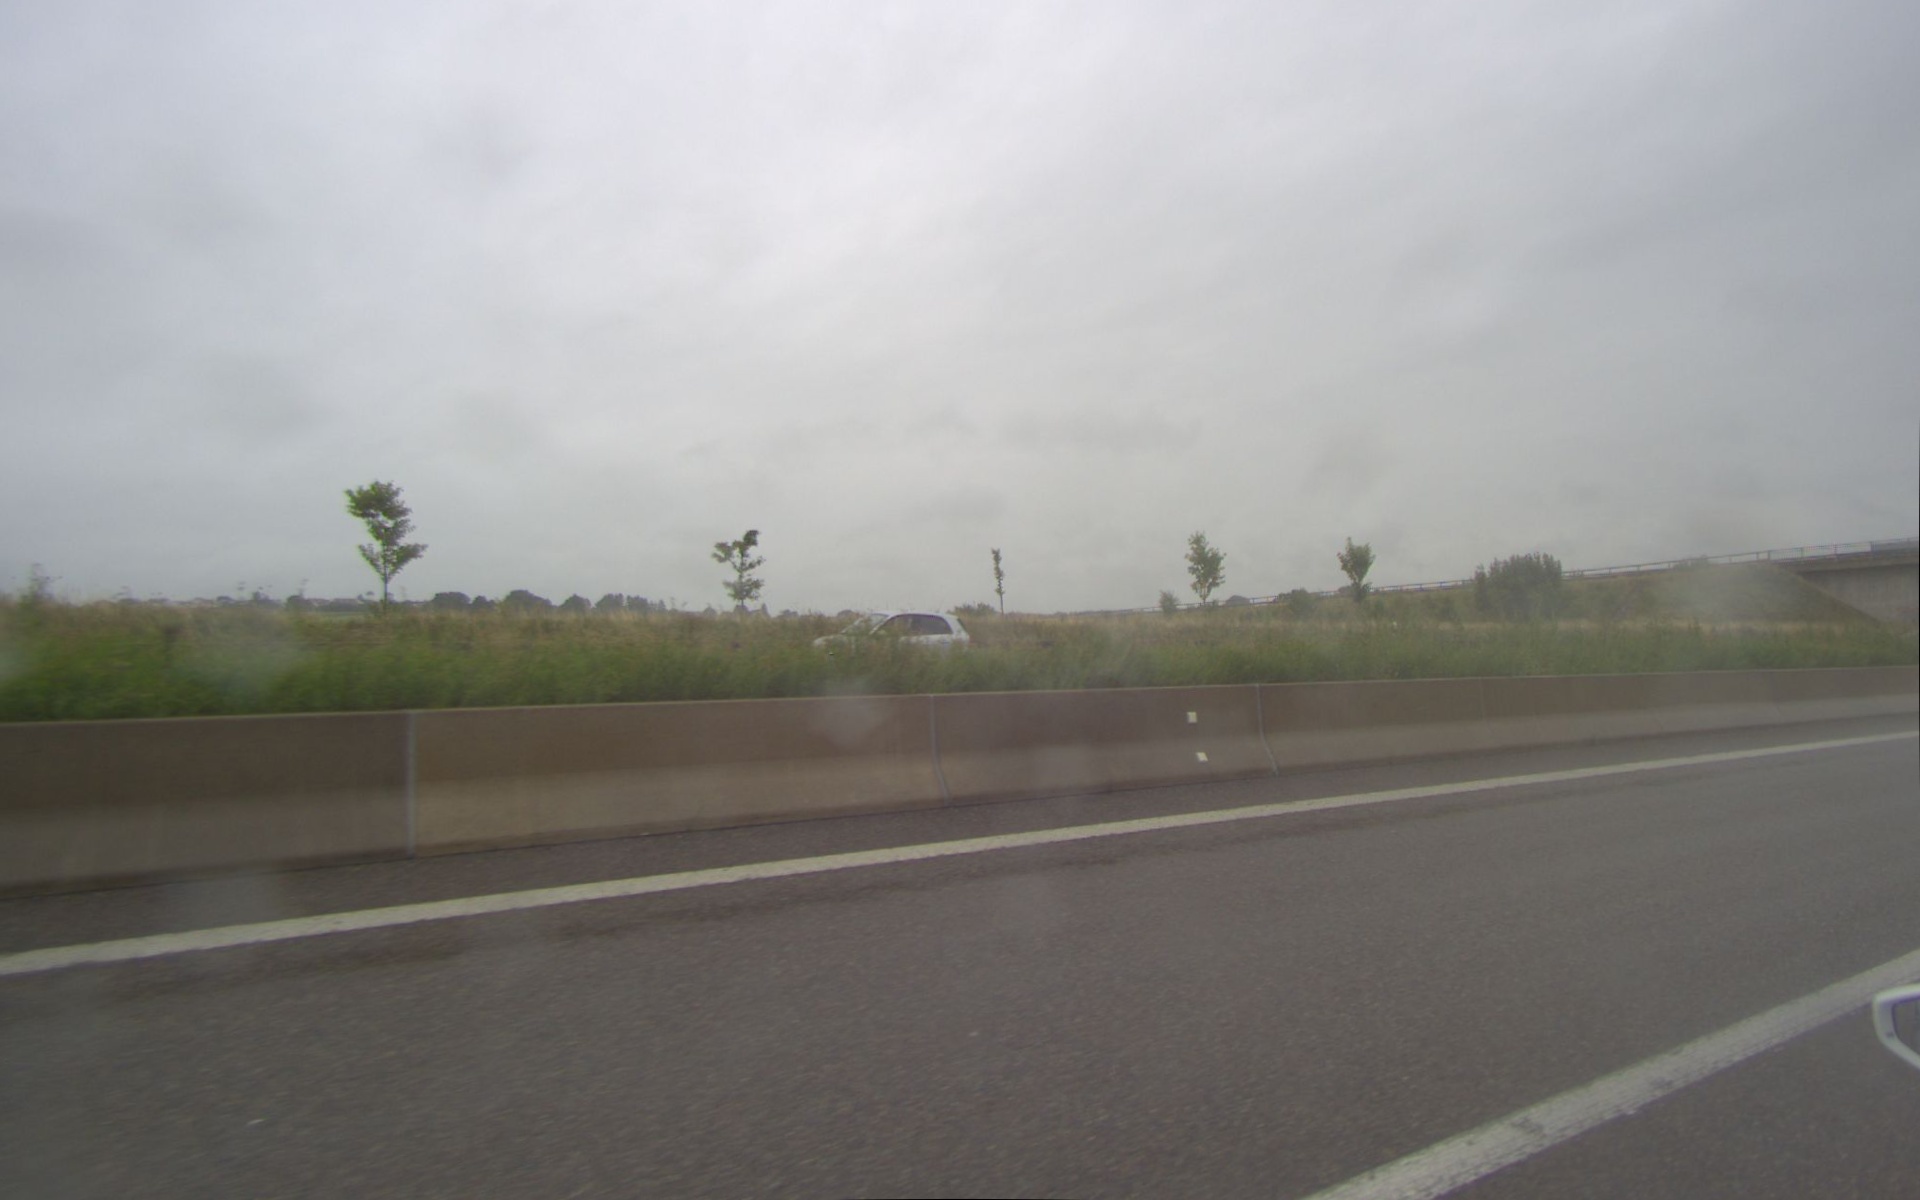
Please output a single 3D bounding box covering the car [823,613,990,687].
[{"bbox_3d":[-1.087,1.041,20.796,3.167,1.400,1.353,2,-1,-30],"label":"car"}]
